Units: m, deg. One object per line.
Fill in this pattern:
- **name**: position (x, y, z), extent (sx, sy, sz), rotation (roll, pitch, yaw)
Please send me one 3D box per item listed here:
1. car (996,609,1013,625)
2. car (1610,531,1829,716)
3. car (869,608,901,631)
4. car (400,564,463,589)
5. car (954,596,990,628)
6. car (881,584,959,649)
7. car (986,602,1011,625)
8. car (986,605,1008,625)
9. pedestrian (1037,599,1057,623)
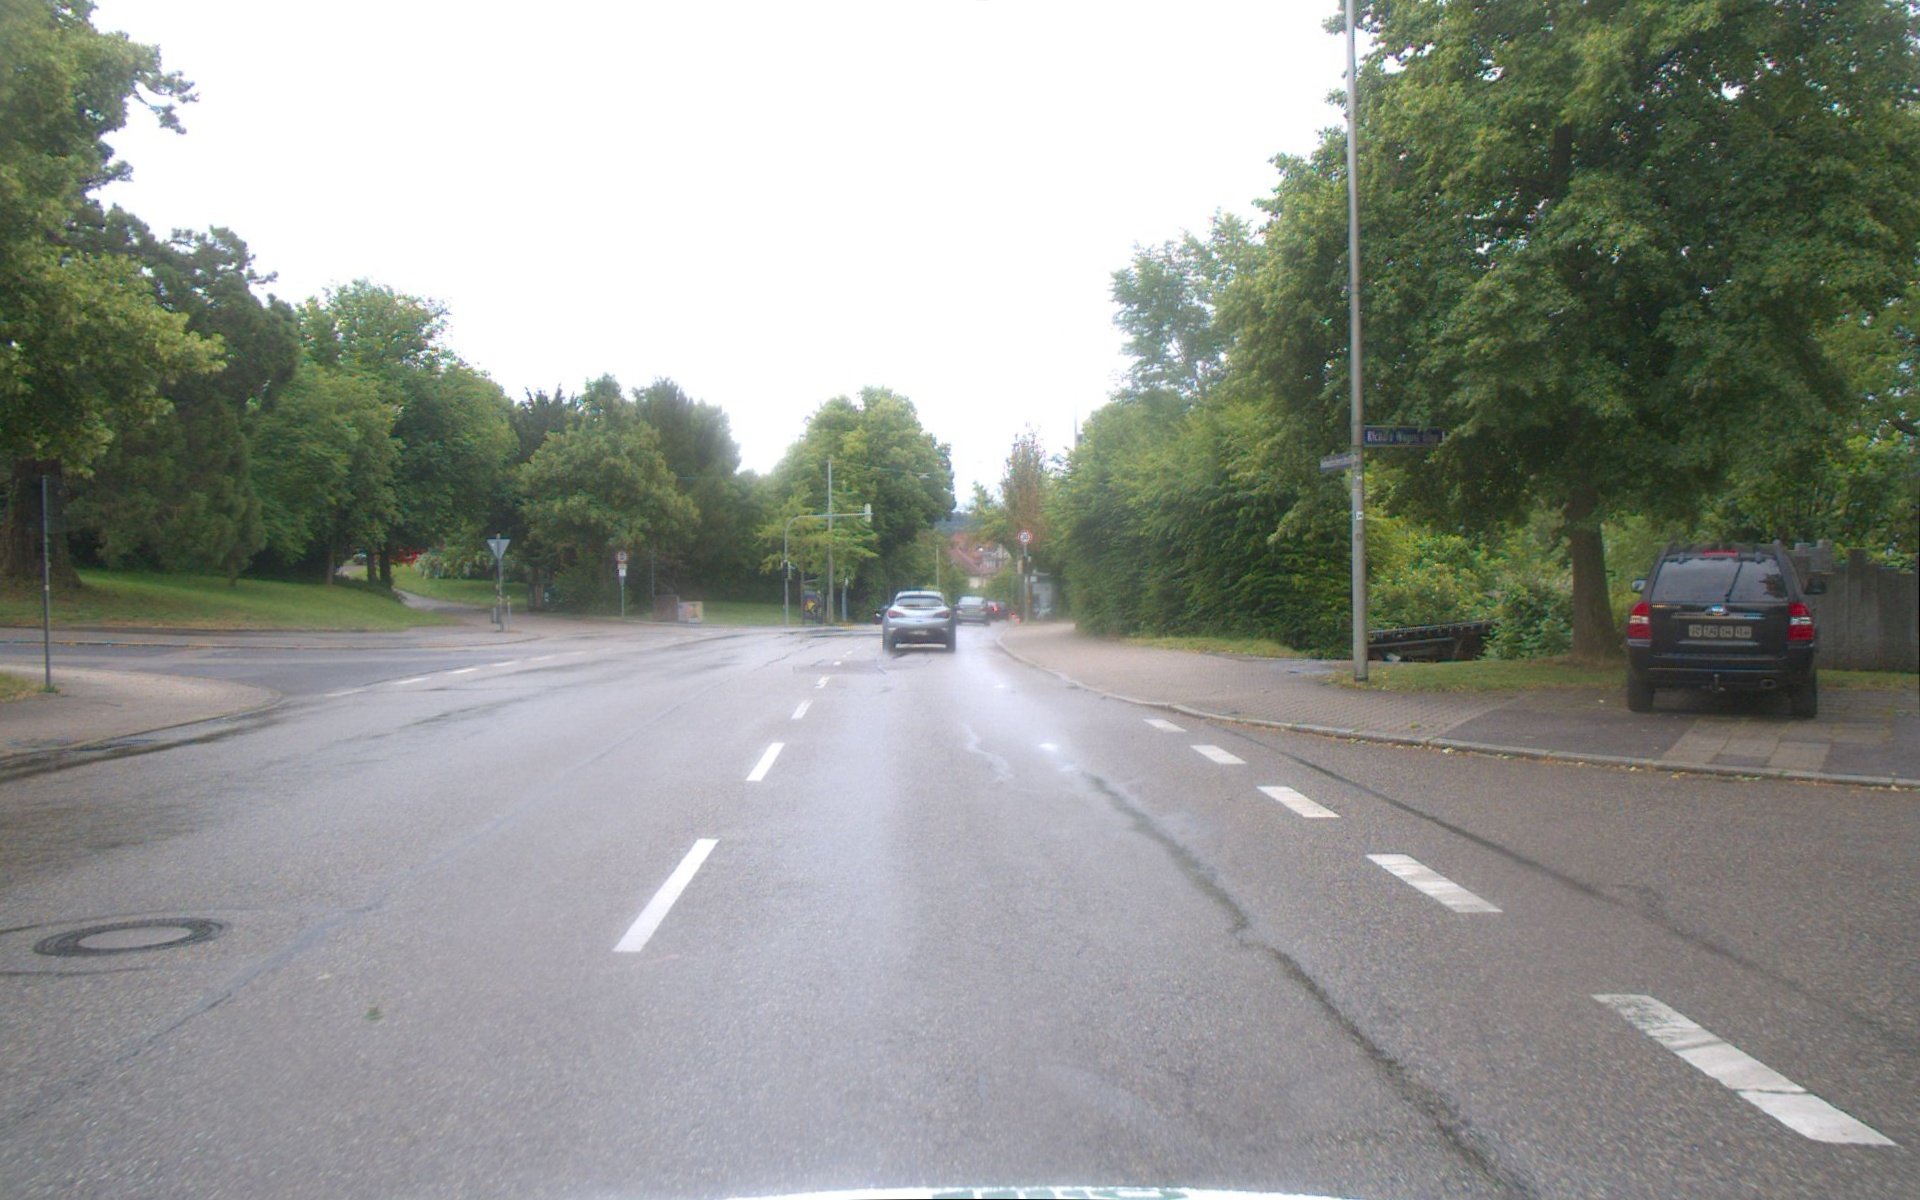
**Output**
- **car**: position (4.422, 1.715, 164.409), extent (1.686, 1.489, 4.001), rotation (3, 0, 1)
- **car**: position (8.448, 0.115, 18.248), extent (1.910, 1.718, 4.899), rotation (1, 3, 27)
- **car**: position (-4.833, 1.248, 107.252), extent (1.626, 1.329, 4.085), rotation (-2, 1, 3)
- **car**: position (-34.582, -1.519, 108.197), extent (3.839, 1.512, 1.924), rotation (0, -1, -20)
- **car**: position (0.621, 0.592, 82.486), extent (1.686, 1.489, 4.001), rotation (3, 0, 1)
- **car**: position (-0.953, 0.374, 41.292), extent (1.718, 1.489, 4.001), rotation (2, 0, 1)
- **car**: position (2.726, 0.964, 116.351), extent (1.686, 1.489, 4.001), rotation (3, 0, 1)
- **car**: position (2.961, 1.208, 131.669), extent (1.686, 1.489, 4.001), rotation (3, 0, 1)
- **pedestrian**: position (5.202, 0.655, 98.787), extent (1.050, 1.379, 0.919), rotation (-2, -1, 10)
